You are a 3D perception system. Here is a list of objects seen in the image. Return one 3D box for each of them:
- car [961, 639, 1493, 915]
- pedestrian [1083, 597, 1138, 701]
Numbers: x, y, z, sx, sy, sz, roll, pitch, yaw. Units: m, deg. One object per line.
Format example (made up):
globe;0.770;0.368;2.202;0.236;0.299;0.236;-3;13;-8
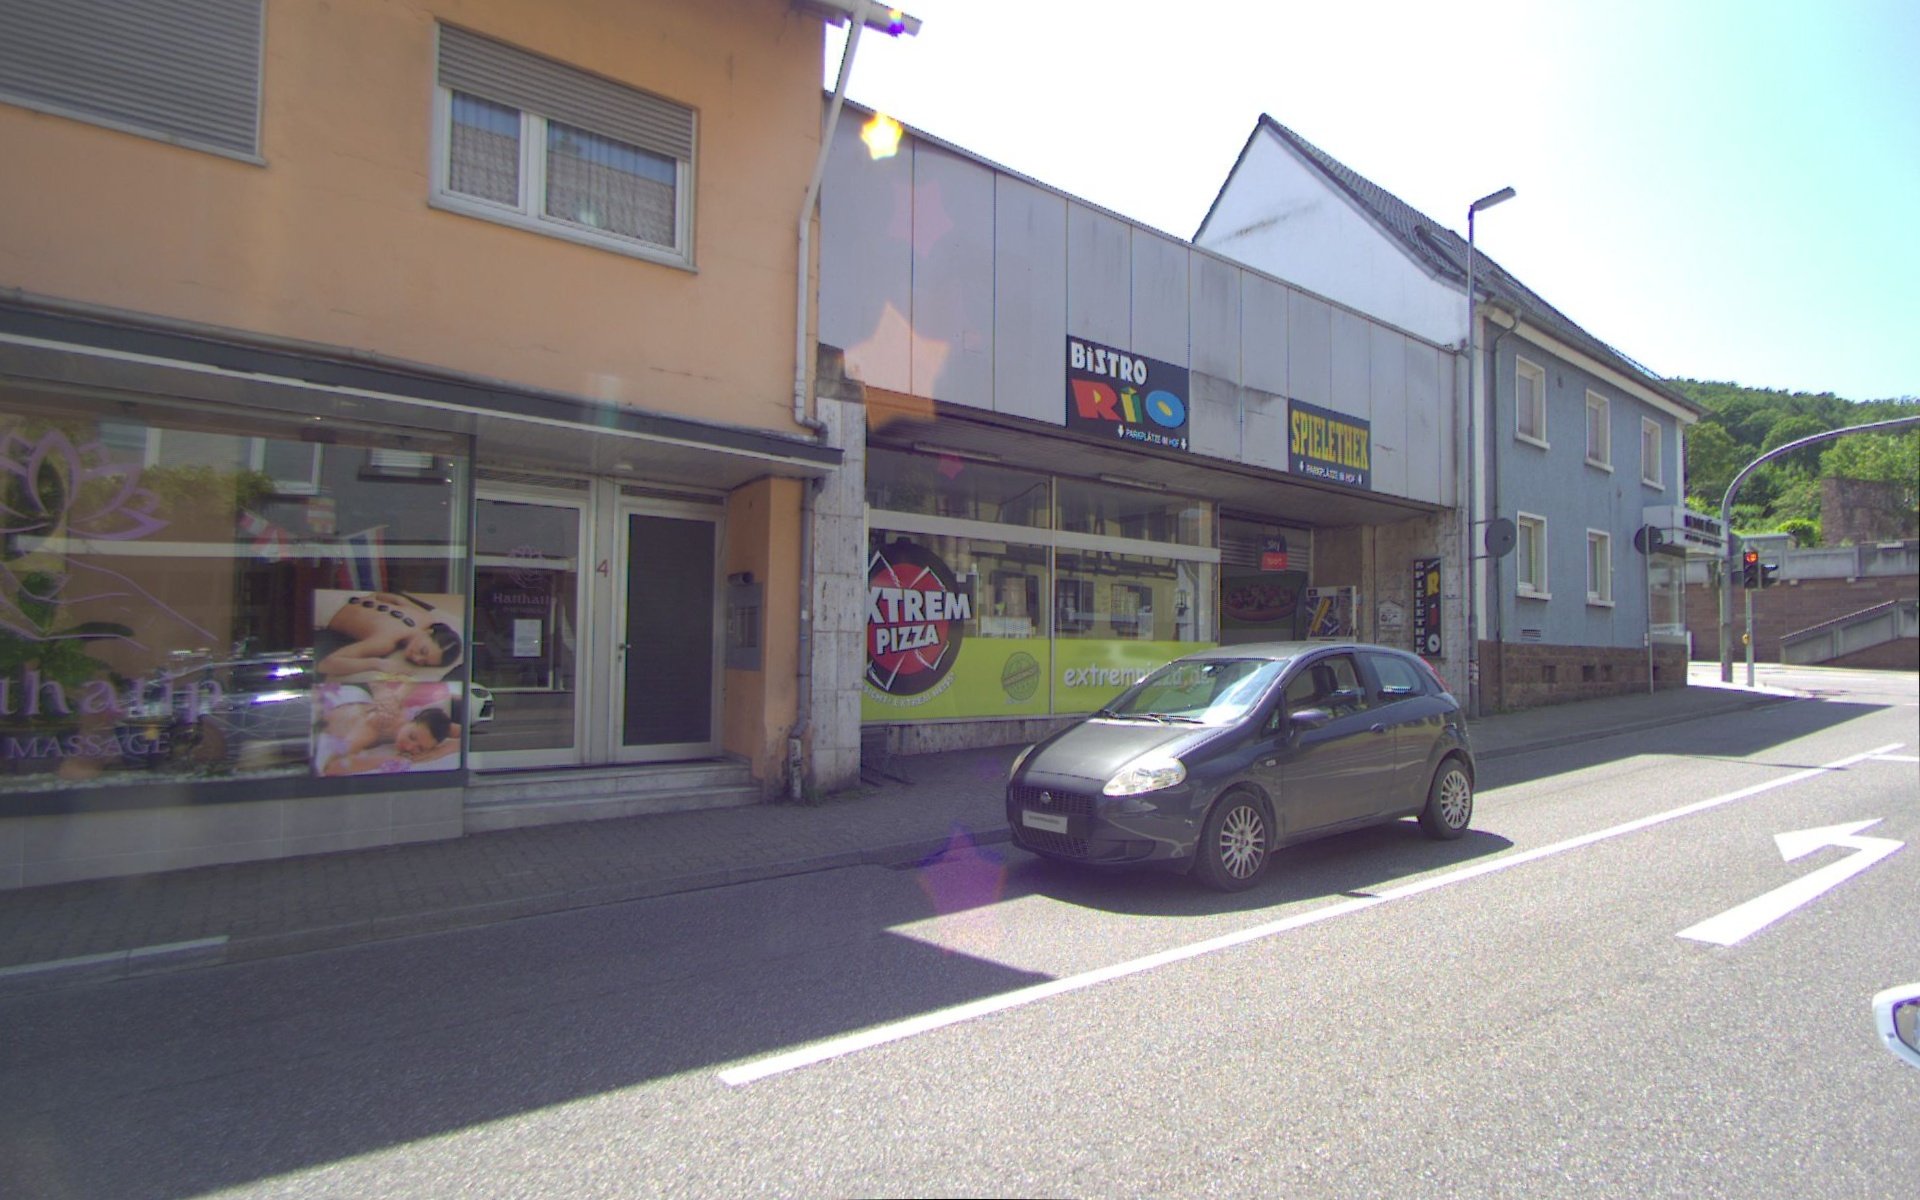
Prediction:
car;2.040;1.053;7.295;3.783;1.441;1.706;1;-3;-36
pedestrian;2.771;0.889;18.464;0.688;1.852;0.736;1;-1;-36
